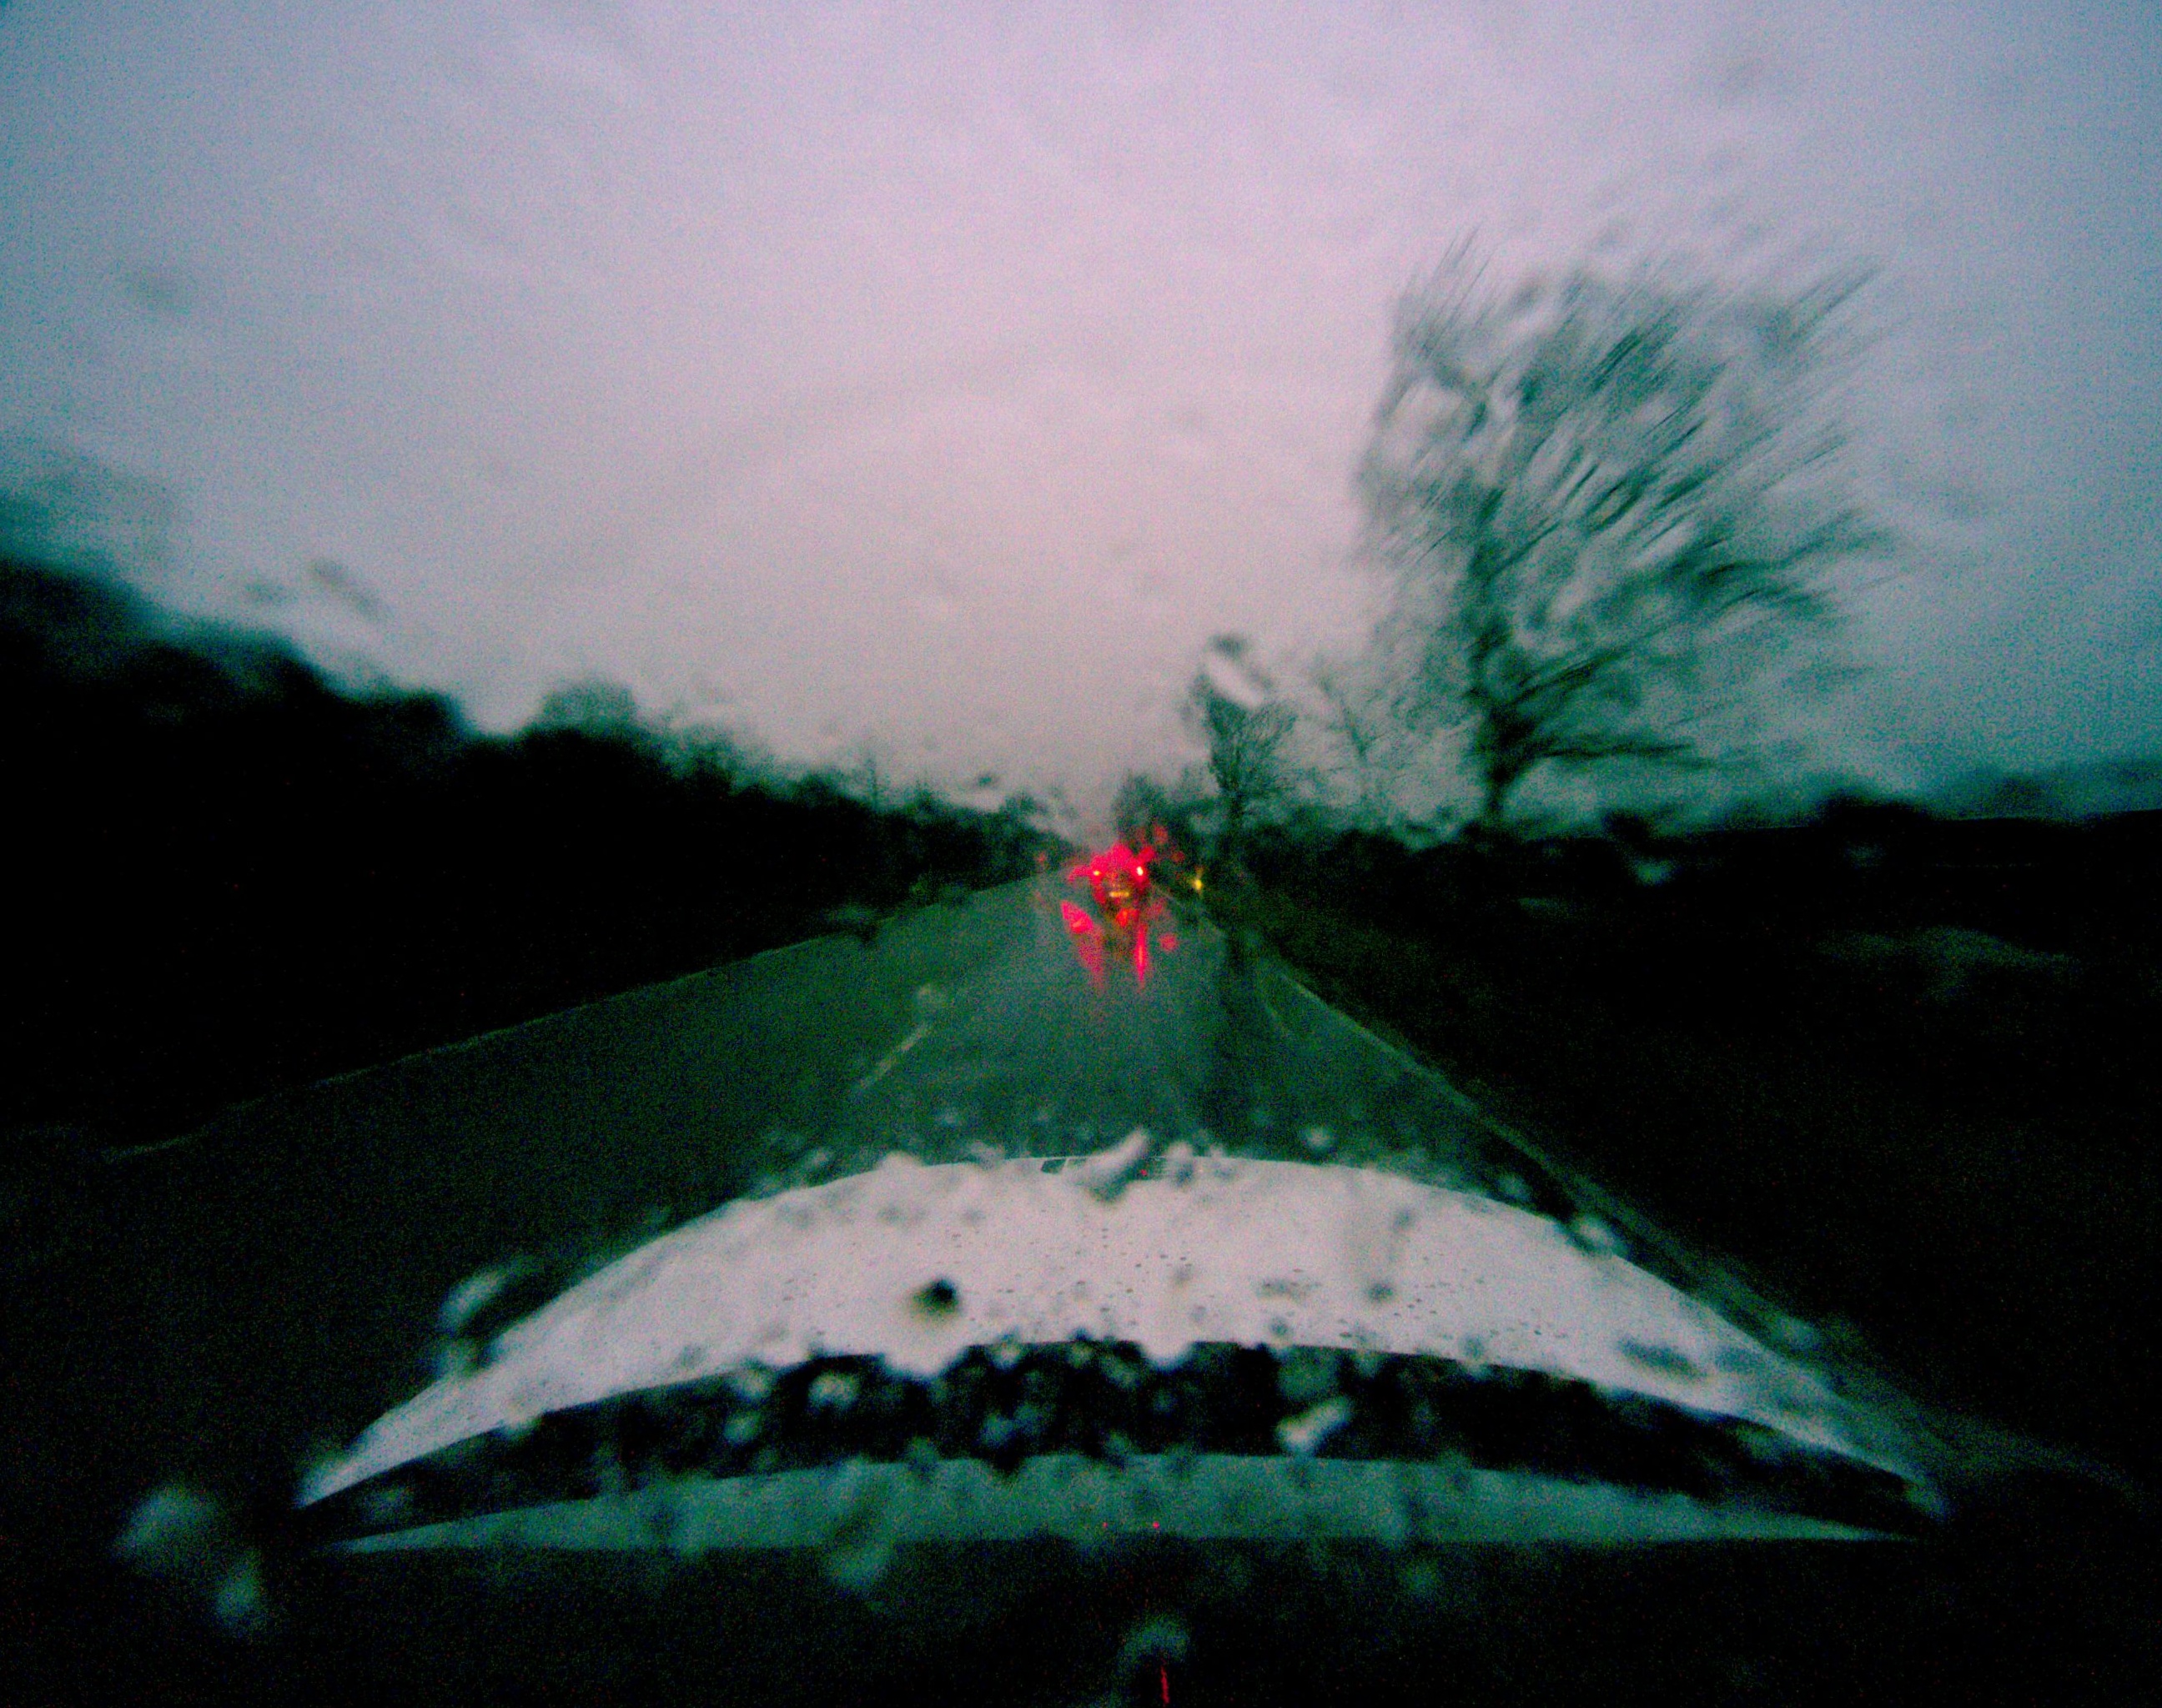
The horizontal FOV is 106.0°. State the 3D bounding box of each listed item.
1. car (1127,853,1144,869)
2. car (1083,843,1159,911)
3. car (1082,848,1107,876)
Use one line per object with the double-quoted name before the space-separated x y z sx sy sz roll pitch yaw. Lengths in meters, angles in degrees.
"car" 5.379 0.665 79.935 1.556 1.591 3.493 0 0 5
"car" 1.165 0.598 23.331 1.985 1.784 4.004 0 0 3
"car" 1.000 0.552 58.073 1.568 1.875 3.712 0 0 3
